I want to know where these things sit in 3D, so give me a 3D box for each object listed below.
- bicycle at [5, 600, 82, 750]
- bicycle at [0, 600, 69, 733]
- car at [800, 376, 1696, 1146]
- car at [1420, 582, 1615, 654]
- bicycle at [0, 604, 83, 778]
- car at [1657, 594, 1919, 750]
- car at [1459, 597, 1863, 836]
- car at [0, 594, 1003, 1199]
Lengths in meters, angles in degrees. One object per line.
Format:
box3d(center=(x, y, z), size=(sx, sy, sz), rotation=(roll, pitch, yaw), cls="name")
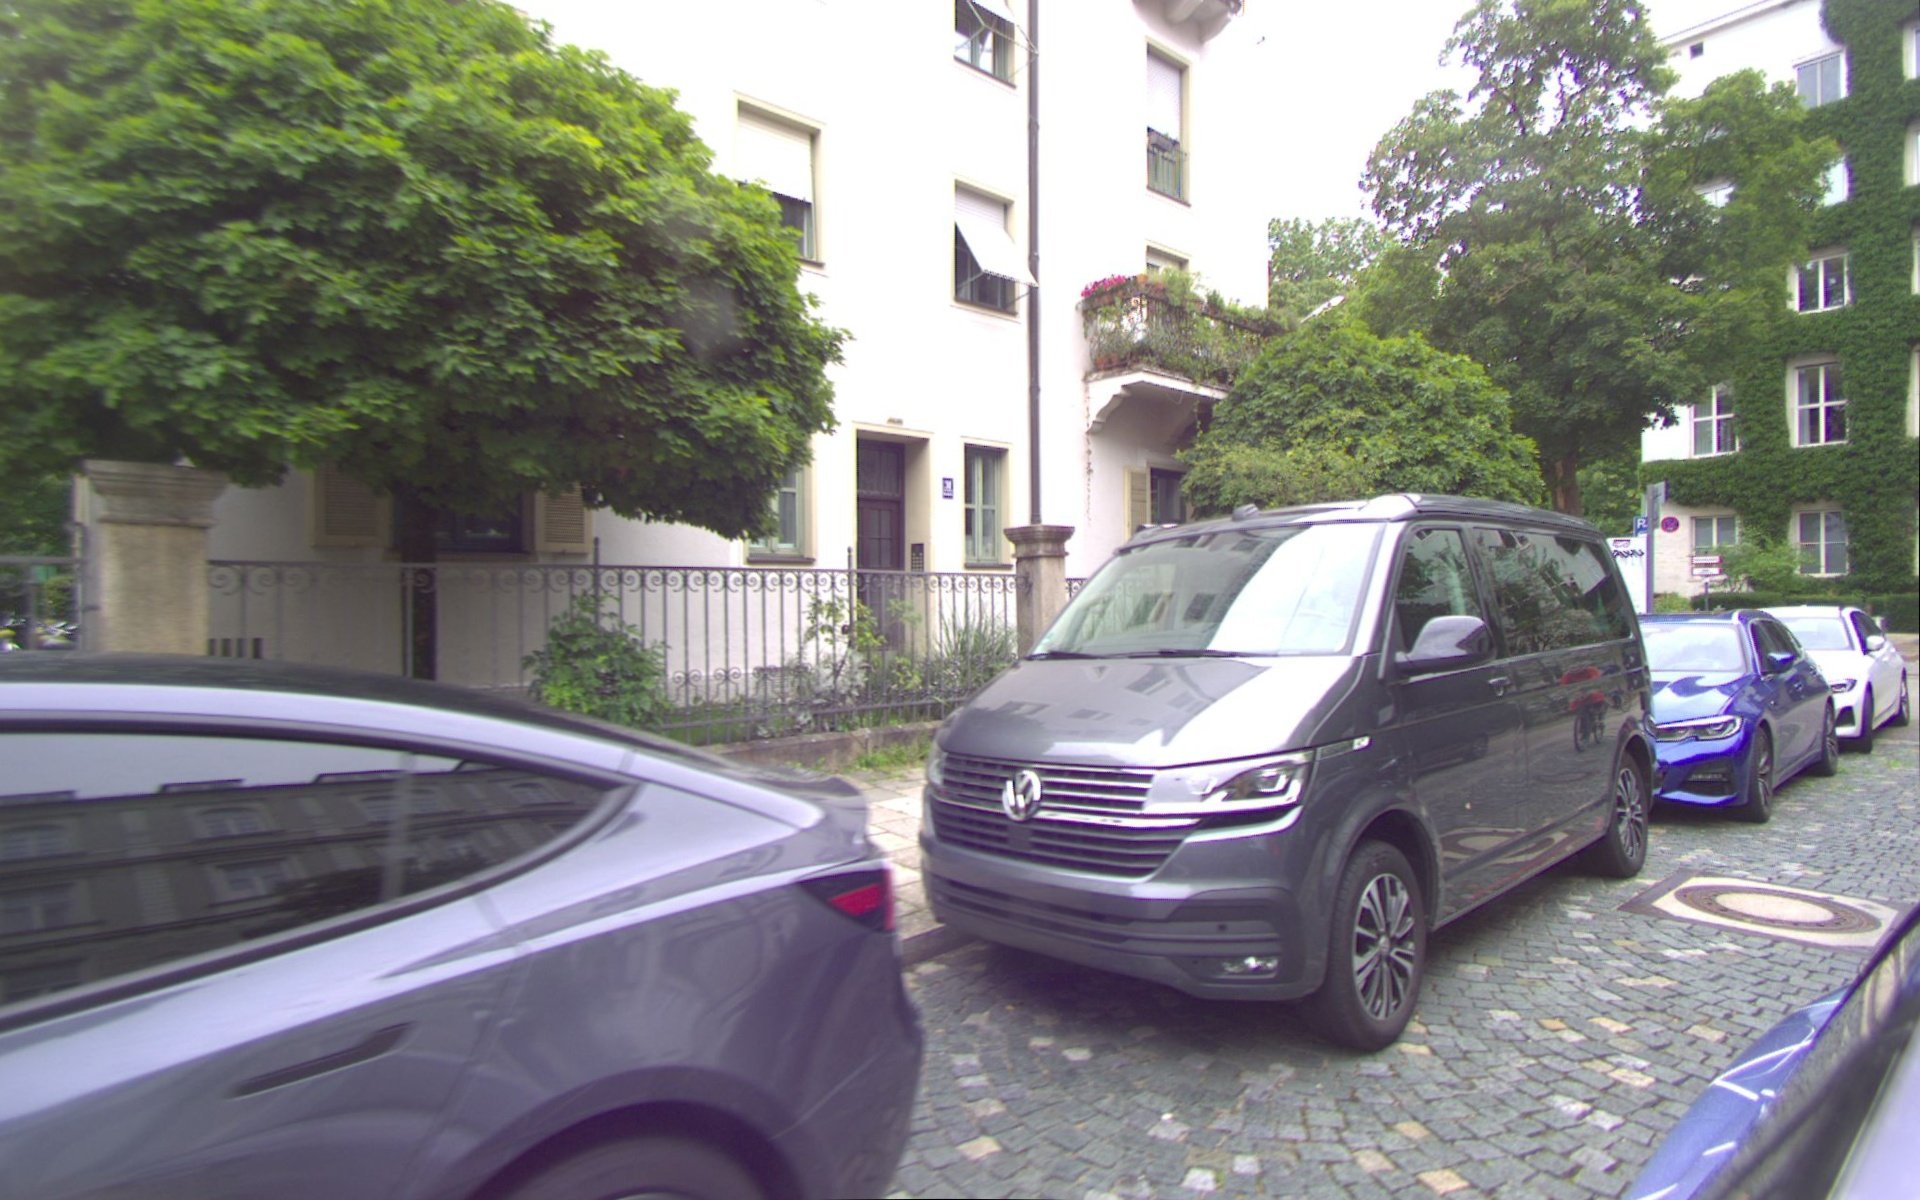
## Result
box3d(center=(-8.143, 0.628, 9.020), size=(0.392, 1.232, 1.342), rotation=(-1, -1, -37), cls="bicycle")
box3d(center=(-9.154, 0.624, 10.028), size=(0.392, 1.232, 1.342), rotation=(-1, -1, -37), cls="bicycle")
box3d(center=(1.828, 0.428, 5.041), size=(4.883, 1.995, 1.995), rotation=(-1, -2, -43), cls="car")
box3d(center=(14.263, 0.474, 26.044), size=(1.868, 1.702, 3.990), rotation=(-1, -1, -43), cls="car")
box3d(center=(-7.175, 0.652, 7.902), size=(0.392, 1.232, 1.450), rotation=(-1, 0, -37), cls="bicycle")
box3d(center=(9.549, 0.658, 11.473), size=(4.207, 1.392, 1.743), rotation=(0, 2, -41), cls="car")
box3d(center=(5.807, 0.707, 8.185), size=(4.109, 1.392, 1.743), rotation=(0, 2, -41), cls="car")
box3d(center=(-2.248, 0.763, 1.330), size=(4.450, 1.484, 1.941), rotation=(0, -1, -39), cls="car")
